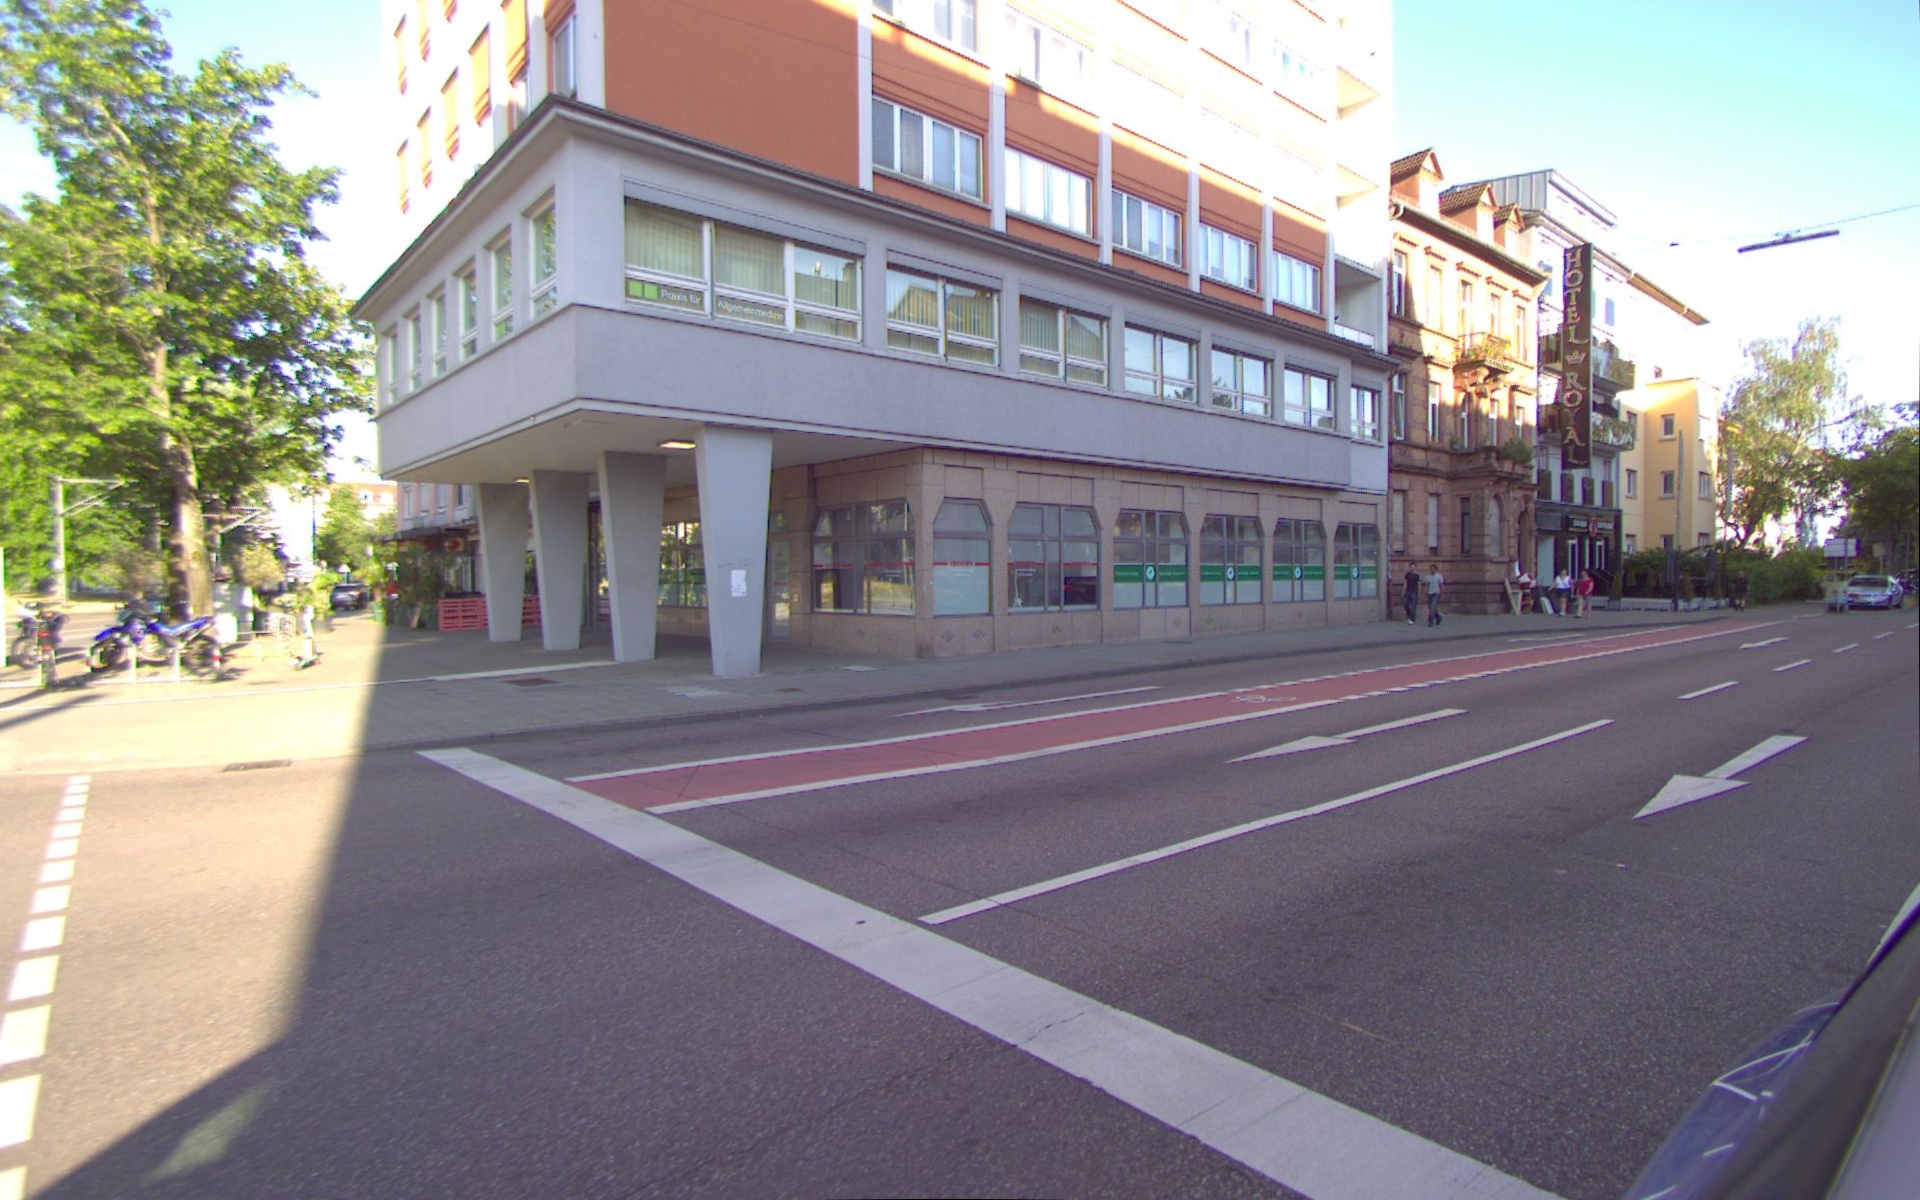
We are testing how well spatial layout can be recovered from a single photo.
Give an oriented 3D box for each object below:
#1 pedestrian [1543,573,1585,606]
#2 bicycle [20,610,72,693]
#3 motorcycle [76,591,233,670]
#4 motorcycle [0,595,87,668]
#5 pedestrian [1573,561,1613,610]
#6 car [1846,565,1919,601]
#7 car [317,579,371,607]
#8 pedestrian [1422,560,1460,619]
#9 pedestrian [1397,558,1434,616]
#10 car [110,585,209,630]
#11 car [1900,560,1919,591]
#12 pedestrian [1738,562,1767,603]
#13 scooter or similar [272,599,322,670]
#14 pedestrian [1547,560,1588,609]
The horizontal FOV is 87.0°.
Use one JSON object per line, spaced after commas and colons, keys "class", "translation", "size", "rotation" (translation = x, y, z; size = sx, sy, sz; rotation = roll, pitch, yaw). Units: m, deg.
{"class": "pedestrian", "translation": [21.870, -0.388, 36.628], "size": [0.909, 1.150, 1.099], "rotation": [-1, 1, -43]}
{"class": "bicycle", "translation": [-14.685, 0.790, 16.245], "size": [0.584, 1.128, 2.058], "rotation": [-1, 3, -43]}
{"class": "motorcycle", "translation": [-15.621, 0.555, 19.683], "size": [0.839, 1.410, 2.236], "rotation": [-1, 1, 37]}
{"class": "motorcycle", "translation": [-18.361, 0.590, 20.194], "size": [0.872, 1.324, 2.061], "rotation": [-2, 2, -25]}
{"class": "pedestrian", "translation": [21.378, -0.507, 34.187], "size": [0.992, 1.606, 0.739], "rotation": [-1, 5, -36]}
{"class": "car", "translation": [40.899, -0.771, 44.820], "size": [4.003, 1.536, 1.905], "rotation": [-2, 2, -40]}
{"class": "car", "translation": [-36.347, -0.430, 59.817], "size": [1.923, 1.575, 3.882], "rotation": [-1, 2, -19]}
{"class": "pedestrian", "translation": [14.385, -0.327, 30.244], "size": [0.993, 1.747, 0.667], "rotation": [-1, 1, -40]}
{"class": "pedestrian", "translation": [13.849, -0.399, 30.777], "size": [0.993, 1.747, 0.668], "rotation": [-1, 1, -39]}
{"class": "car", "translation": [-28.193, 0.221, 35.758], "size": [1.607, 1.445, 3.644], "rotation": [-1, 2, -19]}
{"class": "car", "translation": [52.658, -1.335, 54.944], "size": [4.121, 1.645, 1.946], "rotation": [-2, 2, -41]}
{"class": "pedestrian", "translation": [32.560, -0.744, 41.589], "size": [0.994, 1.621, 0.738], "rotation": [-2, 4, -43]}
{"class": "scooter or similar", "translation": [-12.999, 0.650, 19.866], "size": [0.474, 1.250, 1.565], "rotation": [-1, 2, -21]}
{"class": "pedestrian", "translation": [20.907, -0.552, 34.820], "size": [0.992, 1.606, 0.787], "rotation": [-1, 5, -36]}
